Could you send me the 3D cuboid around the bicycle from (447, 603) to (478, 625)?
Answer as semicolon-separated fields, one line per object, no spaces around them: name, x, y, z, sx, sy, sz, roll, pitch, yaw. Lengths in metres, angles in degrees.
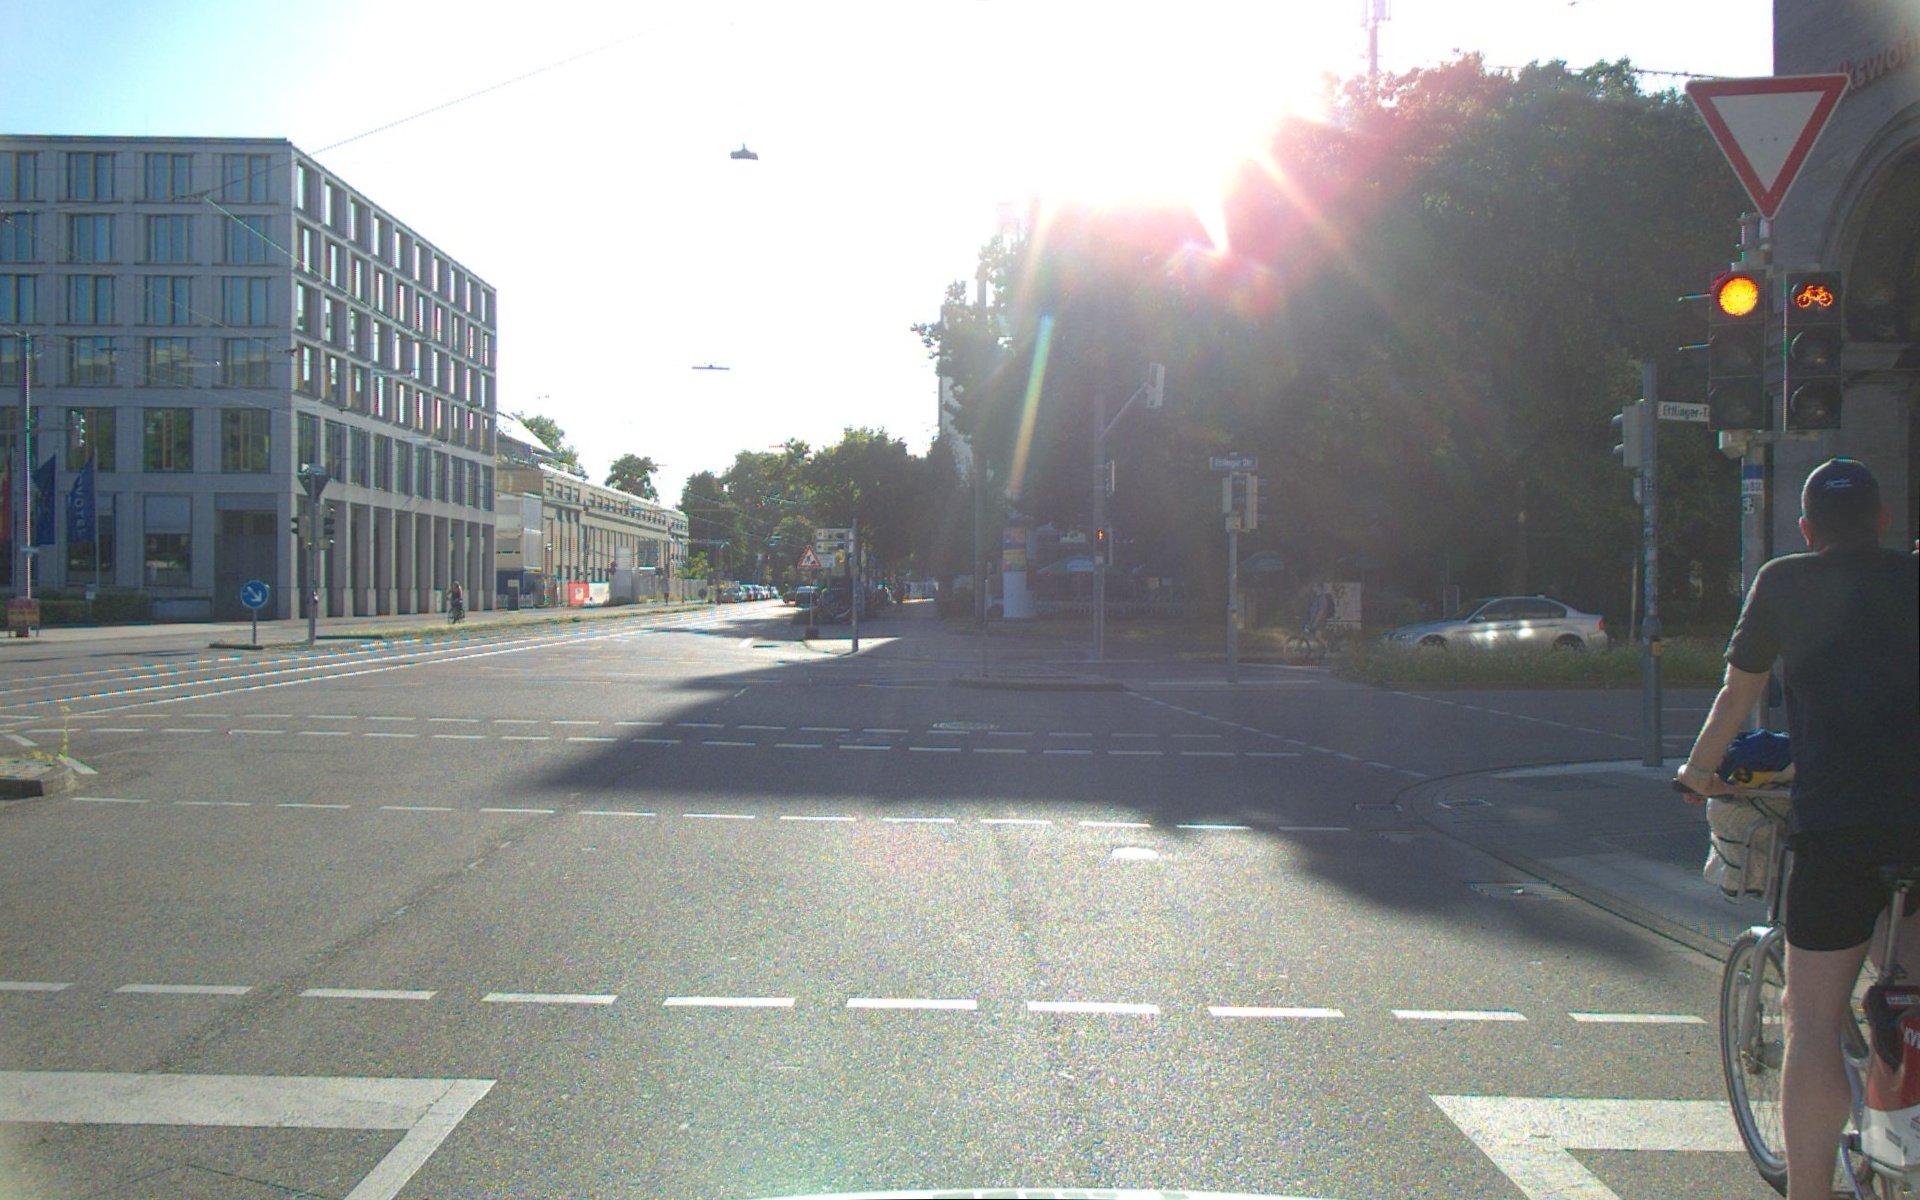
bicycle;-19.185;0.525;63.846;0.560;0.837;1.719;0;0;4

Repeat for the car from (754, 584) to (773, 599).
car;-23.074;-1.023;194.376;1.954;1.673;3.997;0;0;-4

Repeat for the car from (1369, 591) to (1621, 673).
car;10.846;0.632;33.748;4.483;1.543;2.000;1;0;-1

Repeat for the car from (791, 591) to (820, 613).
car;-12.348;0.175;132.385;1.953;1.668;3.999;1;0;-1

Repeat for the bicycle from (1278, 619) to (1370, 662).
bicycle;8.031;0.882;36.508;1.902;0.905;0.718;1;0;5

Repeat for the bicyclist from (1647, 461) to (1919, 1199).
bicyclist;2.139;0.578;3.923;0.610;1.745;0.912;0;0;-2

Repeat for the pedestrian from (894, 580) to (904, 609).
pedestrian;-3.609;-0.325;97.652;0.566;1.719;0.584;0;0;-8

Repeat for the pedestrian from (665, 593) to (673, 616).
pedestrian;-24.695;0.368;140.258;0.576;1.922;0.478;1;-1;-3

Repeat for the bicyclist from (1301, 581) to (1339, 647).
bicyclist;7.952;0.306;36.515;0.731;1.431;0.702;1;0;6

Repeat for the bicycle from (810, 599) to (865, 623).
bicycle;-4.984;0.428;67.149;2.201;0.956;0.653;0;0;-6

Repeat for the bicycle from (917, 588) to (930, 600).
bicycle;-3.854;-0.660;175.374;0.875;1.240;2.785;1;0;-12

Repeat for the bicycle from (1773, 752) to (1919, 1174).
bicycle;2.882;1.021;4.411;0.570;1.062;1.747;0;0;0

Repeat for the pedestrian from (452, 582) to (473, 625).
pedestrian;-19.193;0.128;63.808;0.560;1.623;0.745;0;0;3

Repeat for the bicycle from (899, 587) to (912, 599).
bicycle;-5.805;-0.695;174.811;0.875;1.240;2.785;1;0;-12

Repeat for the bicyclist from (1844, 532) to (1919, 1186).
bicyclist;2.882;0.701;4.375;0.572;1.769;0.950;0;0;0

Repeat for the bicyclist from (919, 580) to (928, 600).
bicyclist;-3.882;-1.064;175.536;0.875;2.049;0.746;1;-1;-12

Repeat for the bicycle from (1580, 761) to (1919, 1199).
bicycle;2.135;1.005;3.935;0.610;1.062;1.746;0;0;-2

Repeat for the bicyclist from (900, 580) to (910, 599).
bicyclist;-5.801;-1.099;174.858;0.875;2.049;0.746;1;-1;-12
